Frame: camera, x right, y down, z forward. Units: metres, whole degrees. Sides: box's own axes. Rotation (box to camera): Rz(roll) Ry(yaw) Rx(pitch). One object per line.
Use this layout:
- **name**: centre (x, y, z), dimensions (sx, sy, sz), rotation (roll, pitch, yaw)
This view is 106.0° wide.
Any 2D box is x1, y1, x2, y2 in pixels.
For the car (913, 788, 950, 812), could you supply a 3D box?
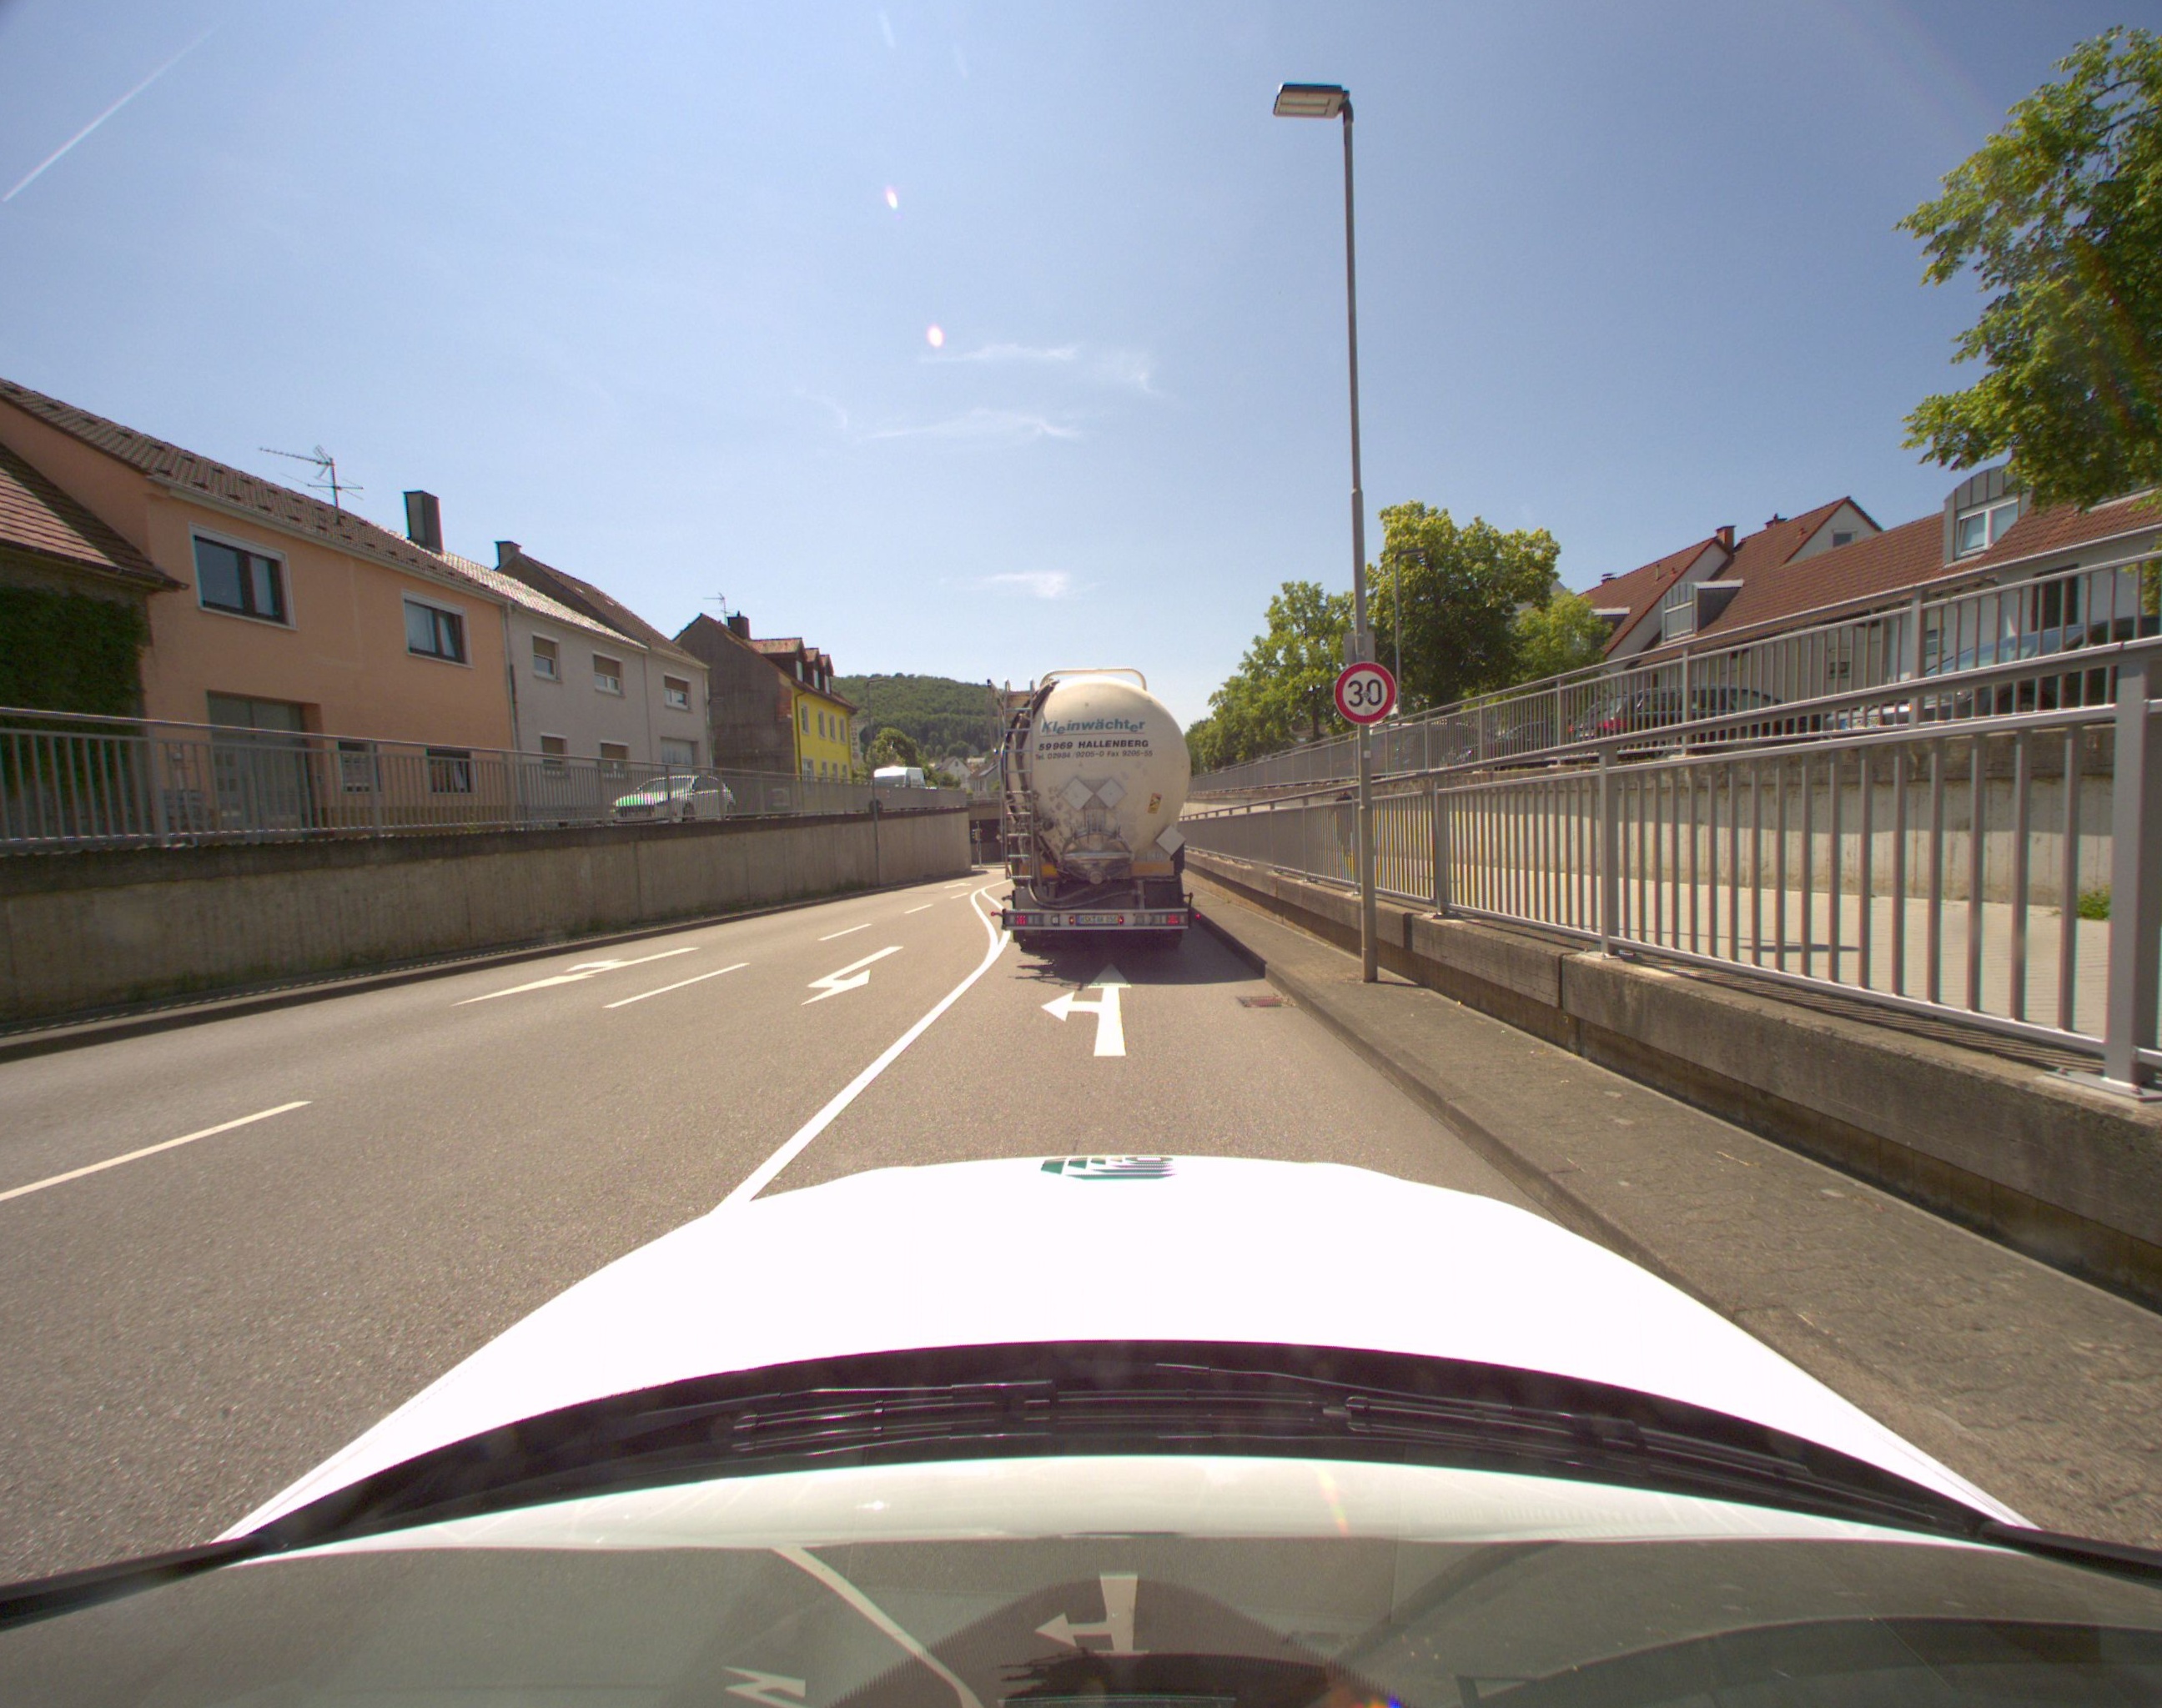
- **car**: centre (-9.772, -3.531, 53.546), dimensions (1.613, 1.500, 4.046), rotation (-1, 3, 1)

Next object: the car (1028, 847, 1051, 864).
- **car**: centre (-3.906, 0.134, 77.431), dimensions (1.753, 1.489, 4.371), rotation (-1, 0, 3)

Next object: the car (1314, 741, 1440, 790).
- **car**: centre (11.150, -3.317, 30.867), dimensions (4.187, 1.595, 1.688), rotation (-2, 3, 2)

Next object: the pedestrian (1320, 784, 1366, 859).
- **pedestrian**: centre (6.495, -0.799, 20.207), dimensions (0.833, 1.781, 0.789), rotation (-2, 1, 2)

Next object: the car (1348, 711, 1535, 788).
- **car**: centre (11.418, -3.291, 26.075), dimensions (5.091, 2.063, 1.991), rotation (-2, 3, 2)

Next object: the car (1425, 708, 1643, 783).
- **car**: centre (10.784, -2.568, 19.620), dimensions (4.268, 1.498, 1.750), rotation (-2, 3, 2)

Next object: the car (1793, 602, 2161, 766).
- **car**: centre (10.916, -1.893, 9.326), dimensions (3.971, 1.498, 1.750), rotation (-2, 3, 2)

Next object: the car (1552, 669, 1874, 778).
- **car**: centre (10.680, -2.176, 14.002), dimensions (4.187, 1.498, 1.688), rotation (-2, 3, 2)

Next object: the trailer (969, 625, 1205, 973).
- **trailer**: centre (0.396, -0.666, 16.274), dimensions (2.724, 4.064, 13.322), rotation (-1, 0, 3)

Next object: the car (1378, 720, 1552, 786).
- **car**: centre (10.923, -2.854, 23.343), dimensions (4.187, 1.595, 1.688), rotation (-2, 3, 2)

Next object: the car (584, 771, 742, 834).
- **car**: centre (-10.876, -1.374, 21.624), dimensions (1.806, 1.462, 4.313), rotation (-1, 4, 2)

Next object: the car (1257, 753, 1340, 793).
- **car**: centre (11.446, -4.249, 43.025), dimensions (3.890, 1.884, 1.688), rotation (-2, 3, 2)

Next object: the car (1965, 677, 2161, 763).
- **car**: centre (22.128, -2.904, 17.454), dimensions (4.389, 1.489, 1.759), rotation (-4, 3, 2)

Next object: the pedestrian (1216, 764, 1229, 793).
- **pedestrian**: centre (8.956, -4.773, 51.441), dimensions (0.670, 1.779, 0.595), rotation (-2, 3, 3)

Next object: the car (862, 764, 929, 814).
- **car**: centre (-9.985, -3.489, 44.279), dimensions (2.057, 2.535, 5.667), rotation (-1, 3, 2)
